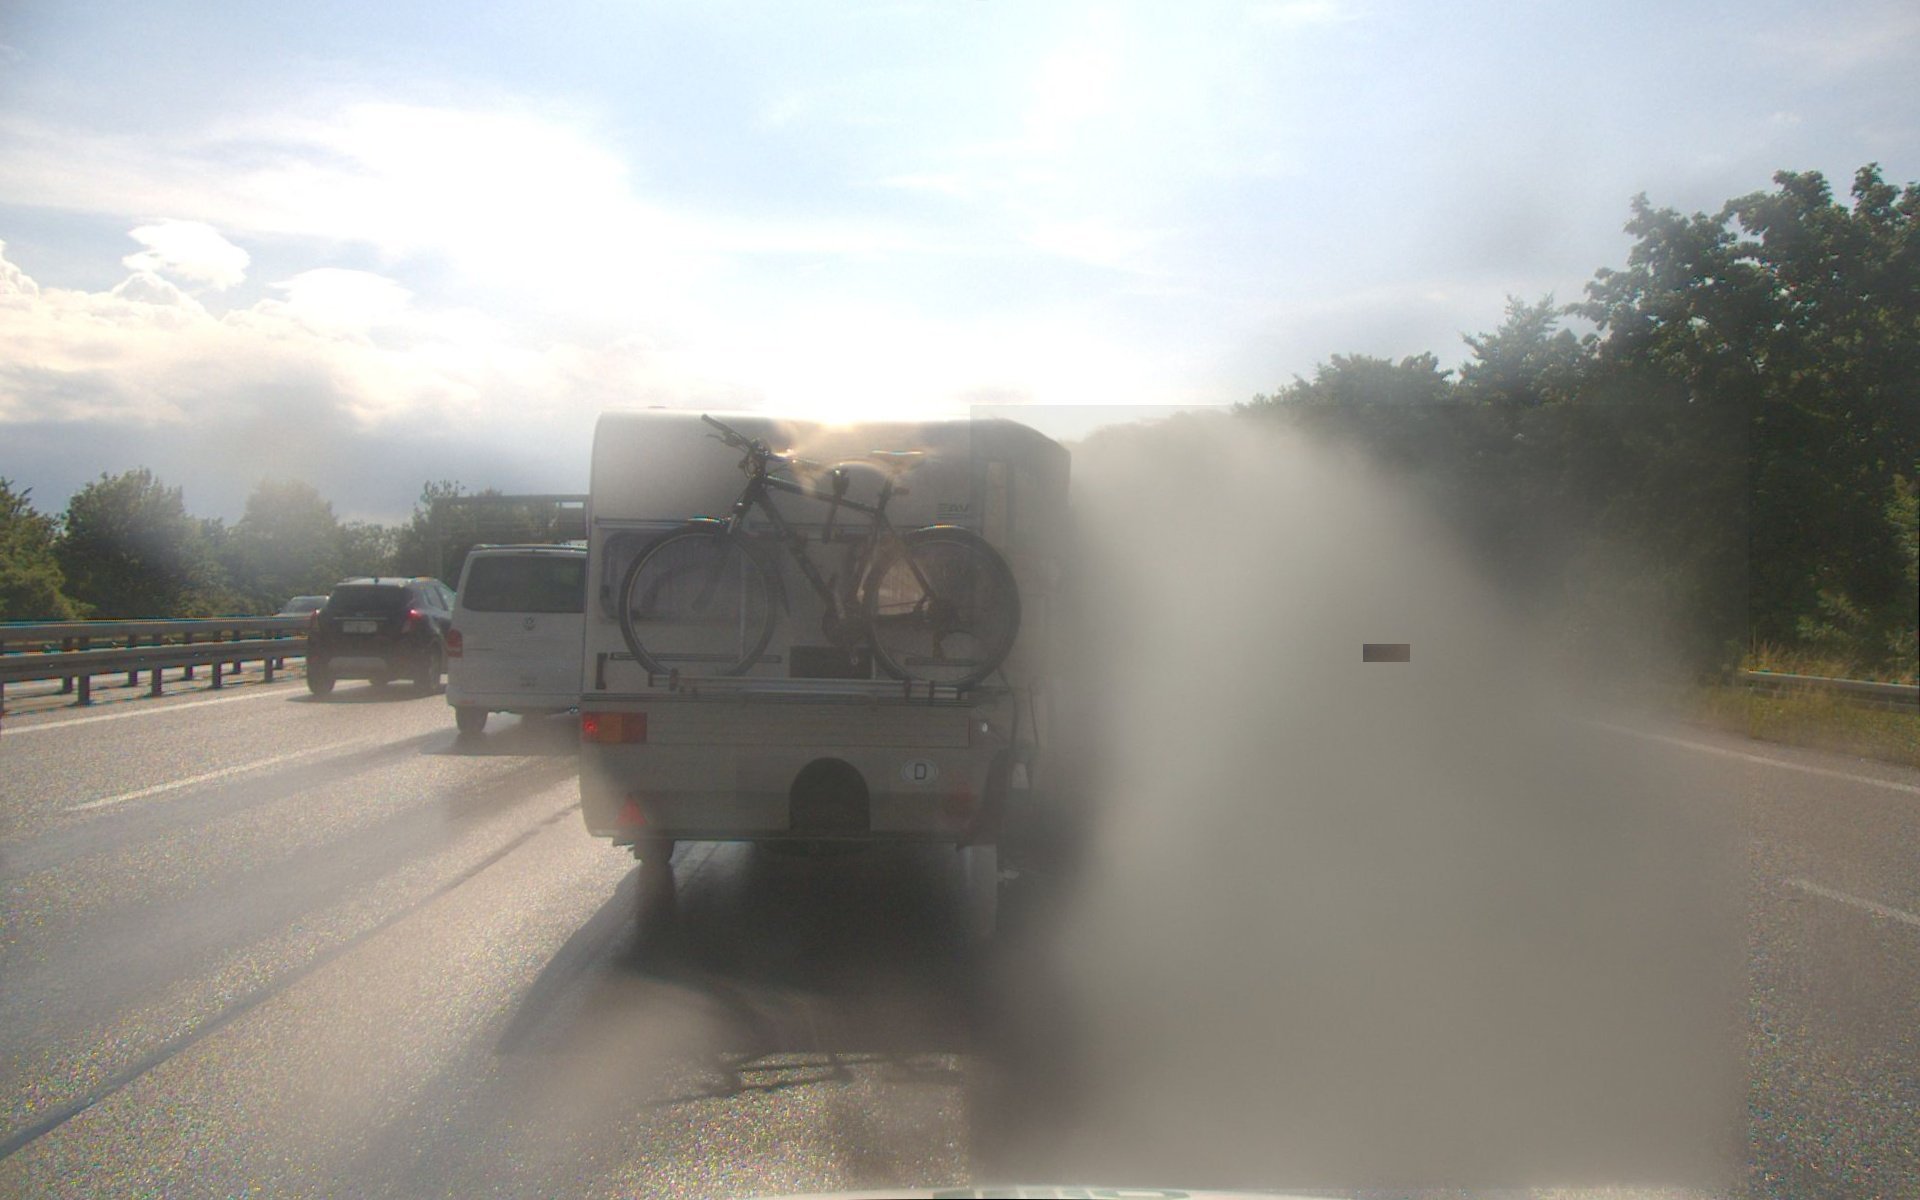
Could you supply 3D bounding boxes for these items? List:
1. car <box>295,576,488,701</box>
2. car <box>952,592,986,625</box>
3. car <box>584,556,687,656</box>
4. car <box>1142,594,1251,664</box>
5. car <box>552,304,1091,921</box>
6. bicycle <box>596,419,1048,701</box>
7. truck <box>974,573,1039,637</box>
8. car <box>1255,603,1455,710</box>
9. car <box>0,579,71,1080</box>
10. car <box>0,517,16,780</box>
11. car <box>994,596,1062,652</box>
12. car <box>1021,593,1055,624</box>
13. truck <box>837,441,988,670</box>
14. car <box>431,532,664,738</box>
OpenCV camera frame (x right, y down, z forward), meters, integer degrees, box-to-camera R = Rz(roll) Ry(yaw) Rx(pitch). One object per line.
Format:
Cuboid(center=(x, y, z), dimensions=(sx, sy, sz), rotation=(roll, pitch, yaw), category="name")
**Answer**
Cuboid(center=(-8.417, 0.541, 24.842), dimensions=(1.737, 1.691, 3.997), rotation=(1, 0, -4), category="car")
Cuboid(center=(0.462, 0.421, 87.890), dimensions=(1.684, 1.713, 3.999), rotation=(1, 0, -1), category="car")
Cuboid(center=(-6.971, 0.122, 35.796), dimensions=(1.548, 2.049, 3.614), rotation=(1, 0, -1), category="car")
Cuboid(center=(5.941, 0.714, 41.987), dimensions=(1.840, 1.657, 3.995), rotation=(1, 0, -5), category="car")
Cuboid(center=(-0.640, 0.067, 9.397), dimensions=(2.361, 2.721, 3.999), rotation=(1, 0, -1), category="car")
Cuboid(center=(-0.583, -0.167, 7.197), dimensions=(1.894, 1.161, 0.384), rotation=(1, -1, -1), category="bicycle")
Cuboid(center=(1.847, 0.183, 67.409), dimensions=(2.366, 2.486, 6.051), rotation=(1, 0, -1), category="truck")
Cuboid(center=(6.032, 0.820, 25.733), dimensions=(1.840, 1.521, 3.995), rotation=(1, 0, -5), category="car")
Cuboid(center=(-3.784, 0.671, 3.327), dimensions=(1.947, 1.483, 3.826), rotation=(1, 0, -1), category="car")
Cuboid(center=(-8.005, 0.362, 10.034), dimensions=(1.811, 1.967, 5.014), rotation=(1, 0, -2), category="car")
Cuboid(center=(2.015, 0.698, 49.696), dimensions=(1.798, 1.585, 3.999), rotation=(1, 0, -1), category="car")
Cuboid(center=(4.466, 0.475, 95.152), dimensions=(1.684, 1.713, 3.999), rotation=(1, 0, -1), category="car")
Cuboid(center=(-1.214, -0.920, 39.551), dimensions=(3.083, 4.707, 10.730), rotation=(1, 0, -3), category="truck")
Cuboid(center=(-4.520, 0.366, 18.705), dimensions=(1.839, 2.049, 3.997), rotation=(1, 0, -4), category="car")
